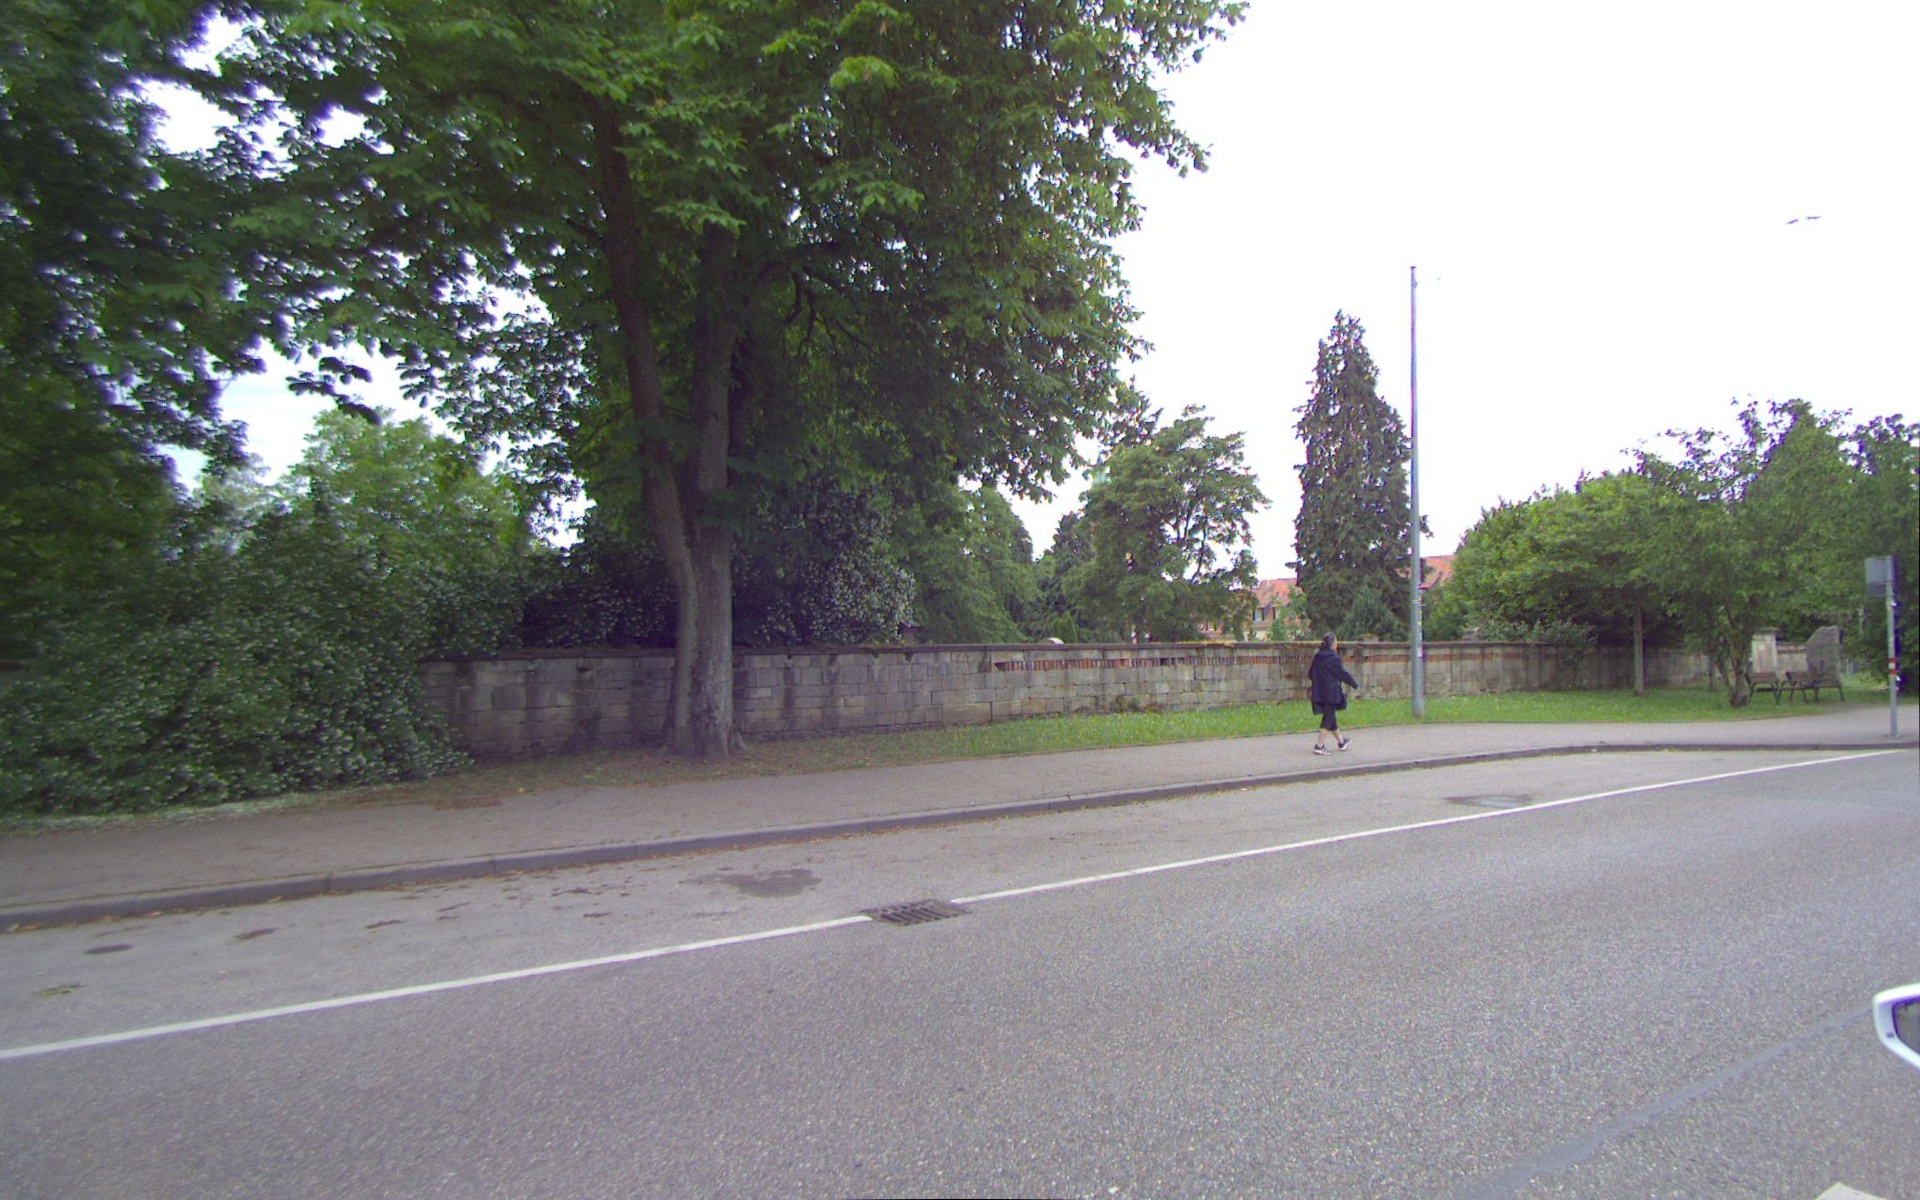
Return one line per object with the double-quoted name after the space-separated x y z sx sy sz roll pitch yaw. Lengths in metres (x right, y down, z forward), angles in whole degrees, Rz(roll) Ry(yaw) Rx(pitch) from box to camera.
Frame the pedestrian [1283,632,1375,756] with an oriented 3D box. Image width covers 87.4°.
5.011 1.245 13.665 0.955 1.599 0.745 1 -1 -30 "pedestrian"
